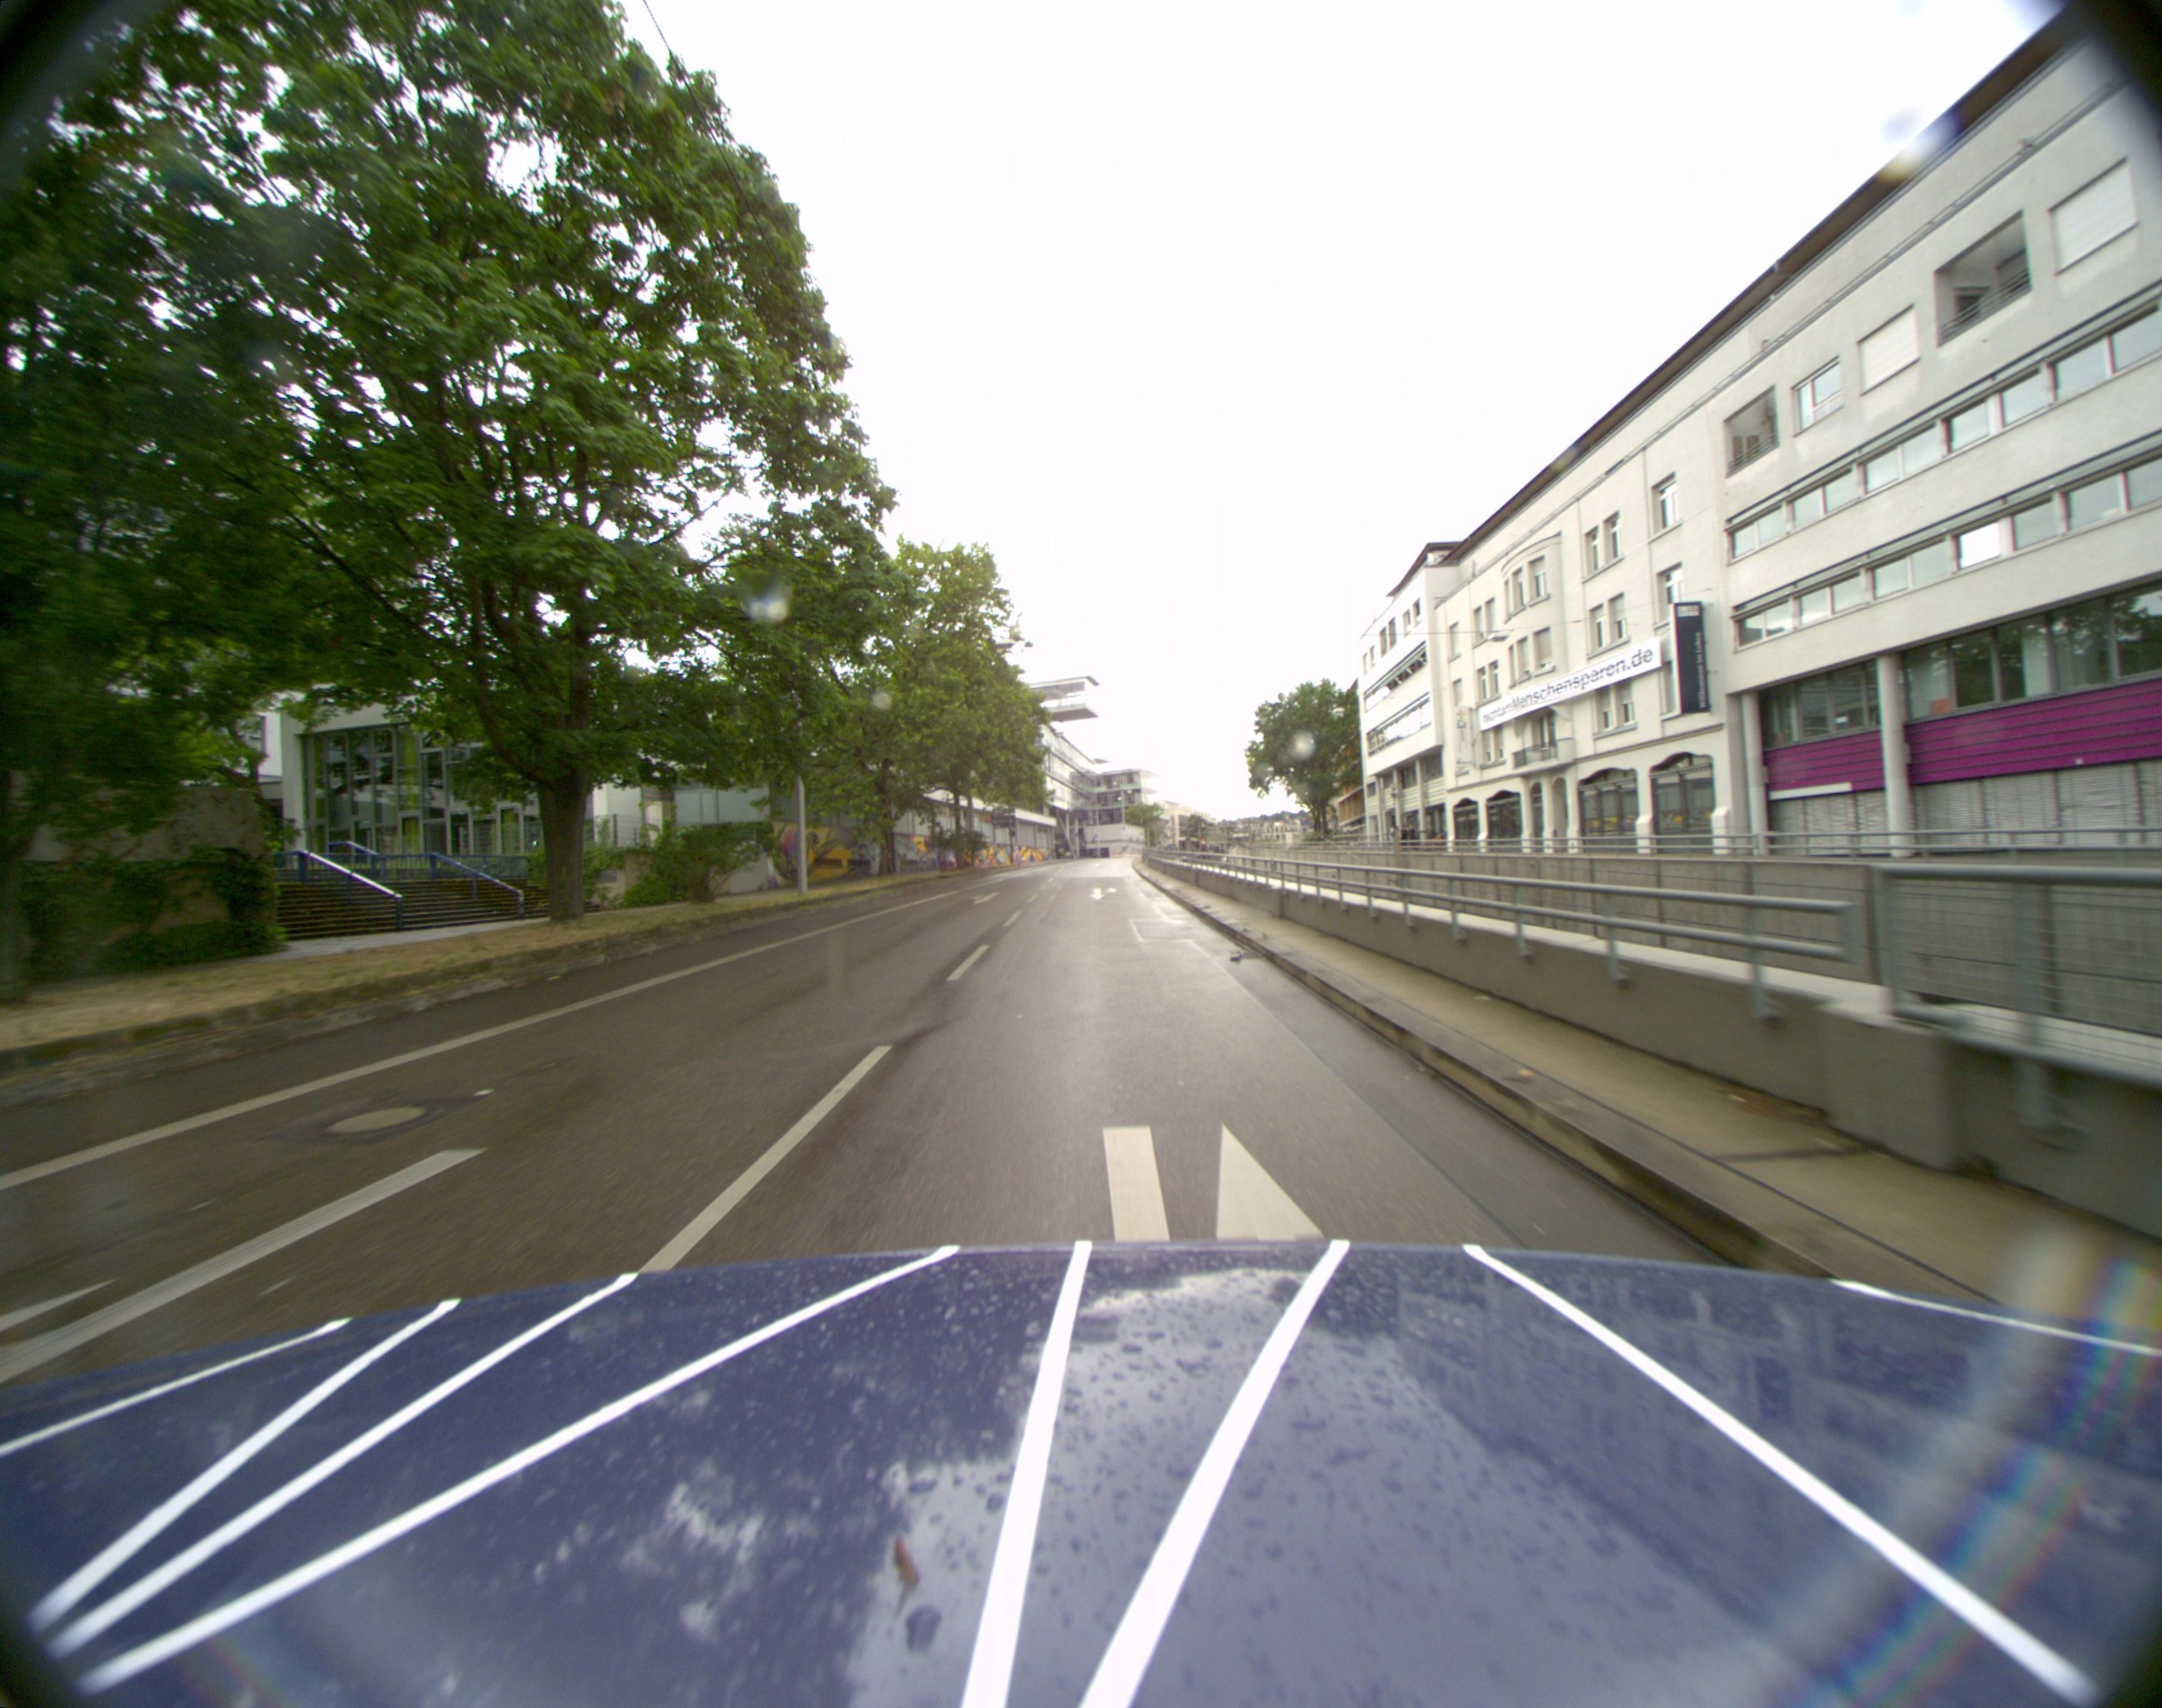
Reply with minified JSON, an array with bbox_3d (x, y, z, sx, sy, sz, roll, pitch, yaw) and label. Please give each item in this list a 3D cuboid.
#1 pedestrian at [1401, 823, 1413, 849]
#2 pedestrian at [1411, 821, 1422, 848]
[{"bbox_3d":[22.498,-1.248,52.414,0.547,1.792,0.470,-4,1,-7],"label":"pedestrian"},{"bbox_3d":[22.589,-1.313,51.152,0.470,1.792,0.547,-4,1,3],"label":"pedestrian"}]
